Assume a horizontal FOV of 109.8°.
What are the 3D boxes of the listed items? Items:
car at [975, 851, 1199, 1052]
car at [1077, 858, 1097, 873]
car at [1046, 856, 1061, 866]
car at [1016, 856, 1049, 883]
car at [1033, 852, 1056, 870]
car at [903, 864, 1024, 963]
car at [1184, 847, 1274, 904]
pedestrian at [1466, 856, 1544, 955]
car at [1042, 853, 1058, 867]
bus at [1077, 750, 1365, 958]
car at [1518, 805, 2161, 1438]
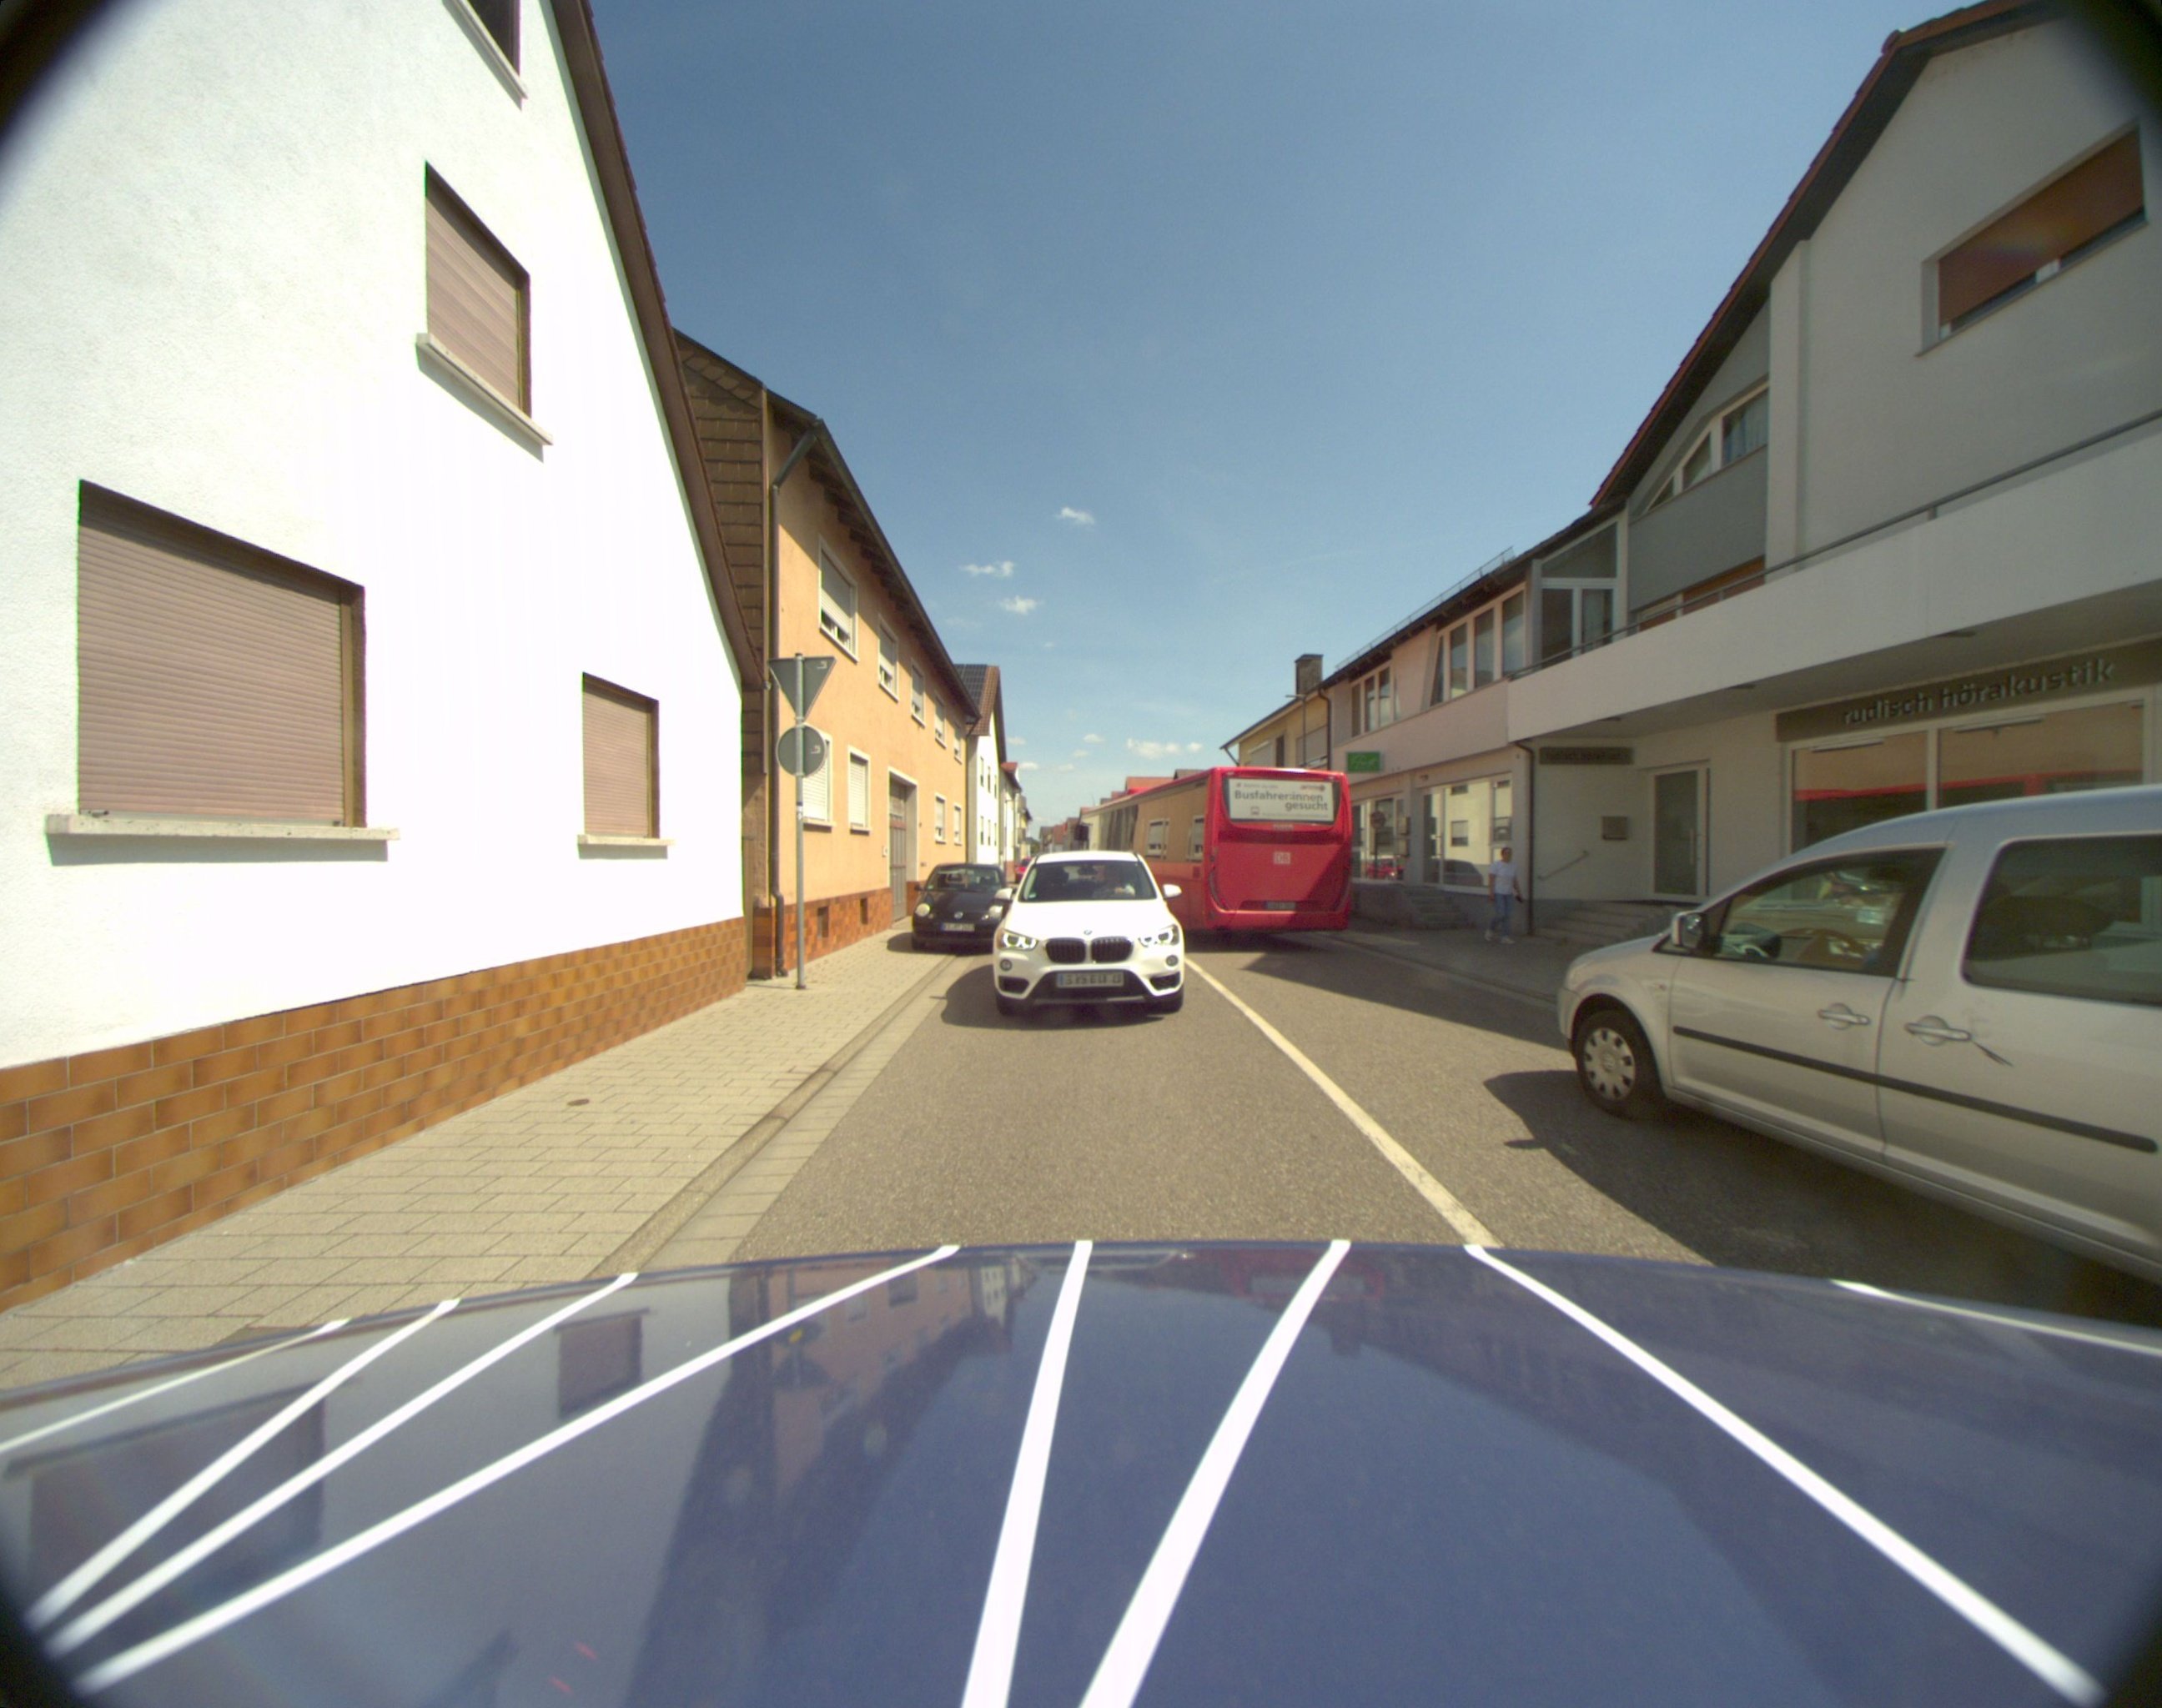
[{"bbox_3d":[0.009,0.834,8.649,1.845,1.636,4.373,-2,0,-1],"label":"car"},{"bbox_3d":[0.553,1.122,74.833,1.765,1.389,3.869,1,0,-2],"label":"car"},{"bbox_3d":[-3.724,0.918,101.726,1.765,1.420,4.187,0,0,-5],"label":"car"},{"bbox_3d":[-2.675,0.823,42.564,1.765,1.420,4.188,0,0,-2],"label":"car"},{"bbox_3d":[-2.847,0.545,59.670,1.765,1.420,4.188,0,0,-2],"label":"car"},{"bbox_3d":[-1.964,0.953,13.611,1.690,1.454,3.628,2,0,-2],"label":"car"},{"bbox_3d":[4.490,0.597,23.640,1.749,1.507,3.998,-4,1,-3],"label":"car"},{"bbox_3d":[7.152,0.835,12.847,0.757,1.575,0.956,-2,1,0],"label":"pedestrian"},{"bbox_3d":[-3.367,0.634,83.108,1.765,1.420,4.188,0,0,-2],"label":"car"},{"bbox_3d":[2.215,-0.010,17.923,2.636,3.213,12.011,1,0,-10],"label":"bus"},{"bbox_3d":[3.977,0.780,3.057,1.776,1.810,4.441,1,0,-1],"label":"car"}]
